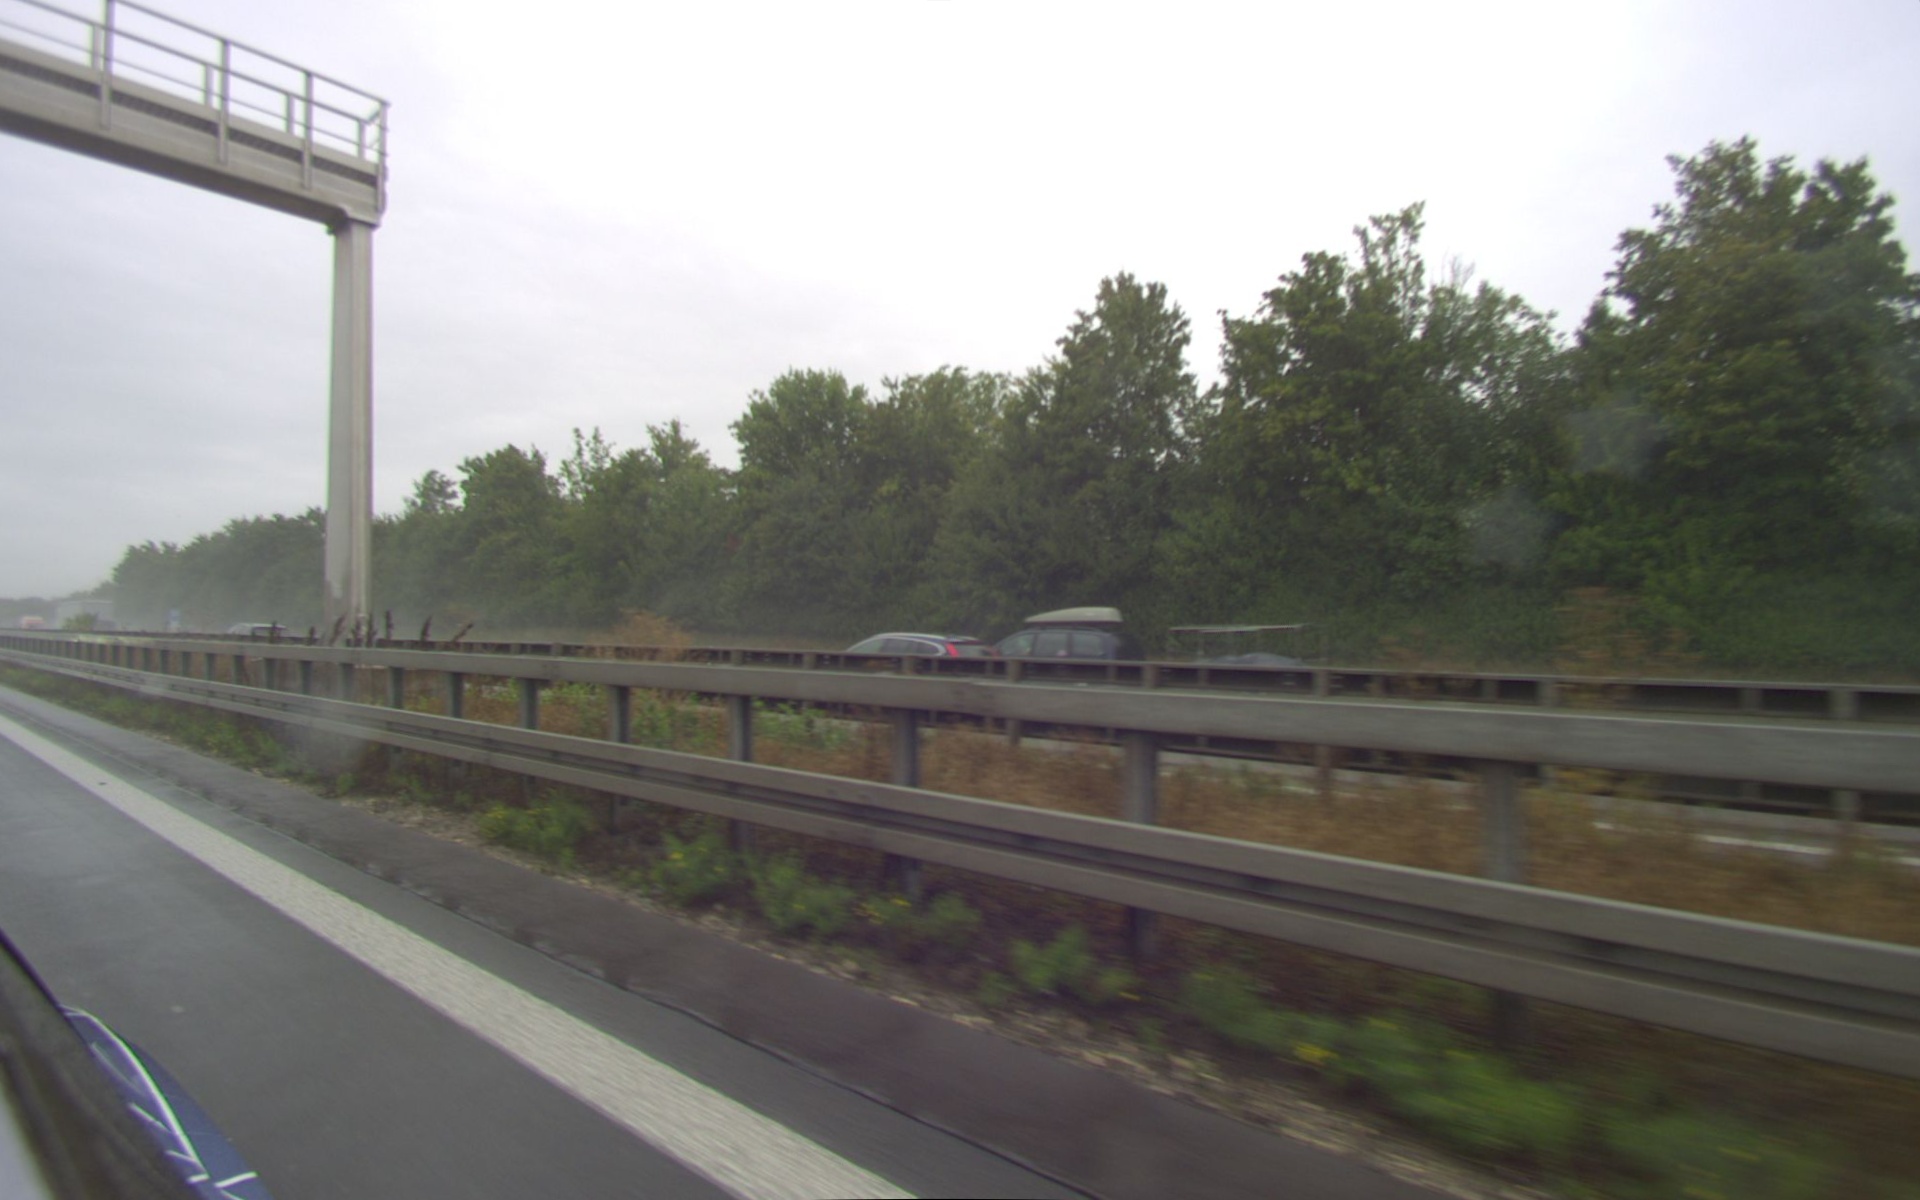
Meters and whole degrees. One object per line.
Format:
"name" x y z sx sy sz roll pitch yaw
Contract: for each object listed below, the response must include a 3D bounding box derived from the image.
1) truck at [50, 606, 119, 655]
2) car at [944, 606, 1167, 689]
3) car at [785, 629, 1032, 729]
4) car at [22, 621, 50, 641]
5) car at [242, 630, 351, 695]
"truck" -92.114 3.291 106.284 17.087 4.710 2.935 -2 -1 41
"car" 2.083 1.066 23.079 4.778 1.674 1.973 -2 -1 40
"car" -1.108 1.466 19.843 4.778 1.674 1.973 -2 -1 40
"car" -92.477 3.089 101.237 3.997 1.896 1.594 -2 -1 40
"car" -22.810 2.093 34.712 5.023 2.029 1.781 -2 -1 40
